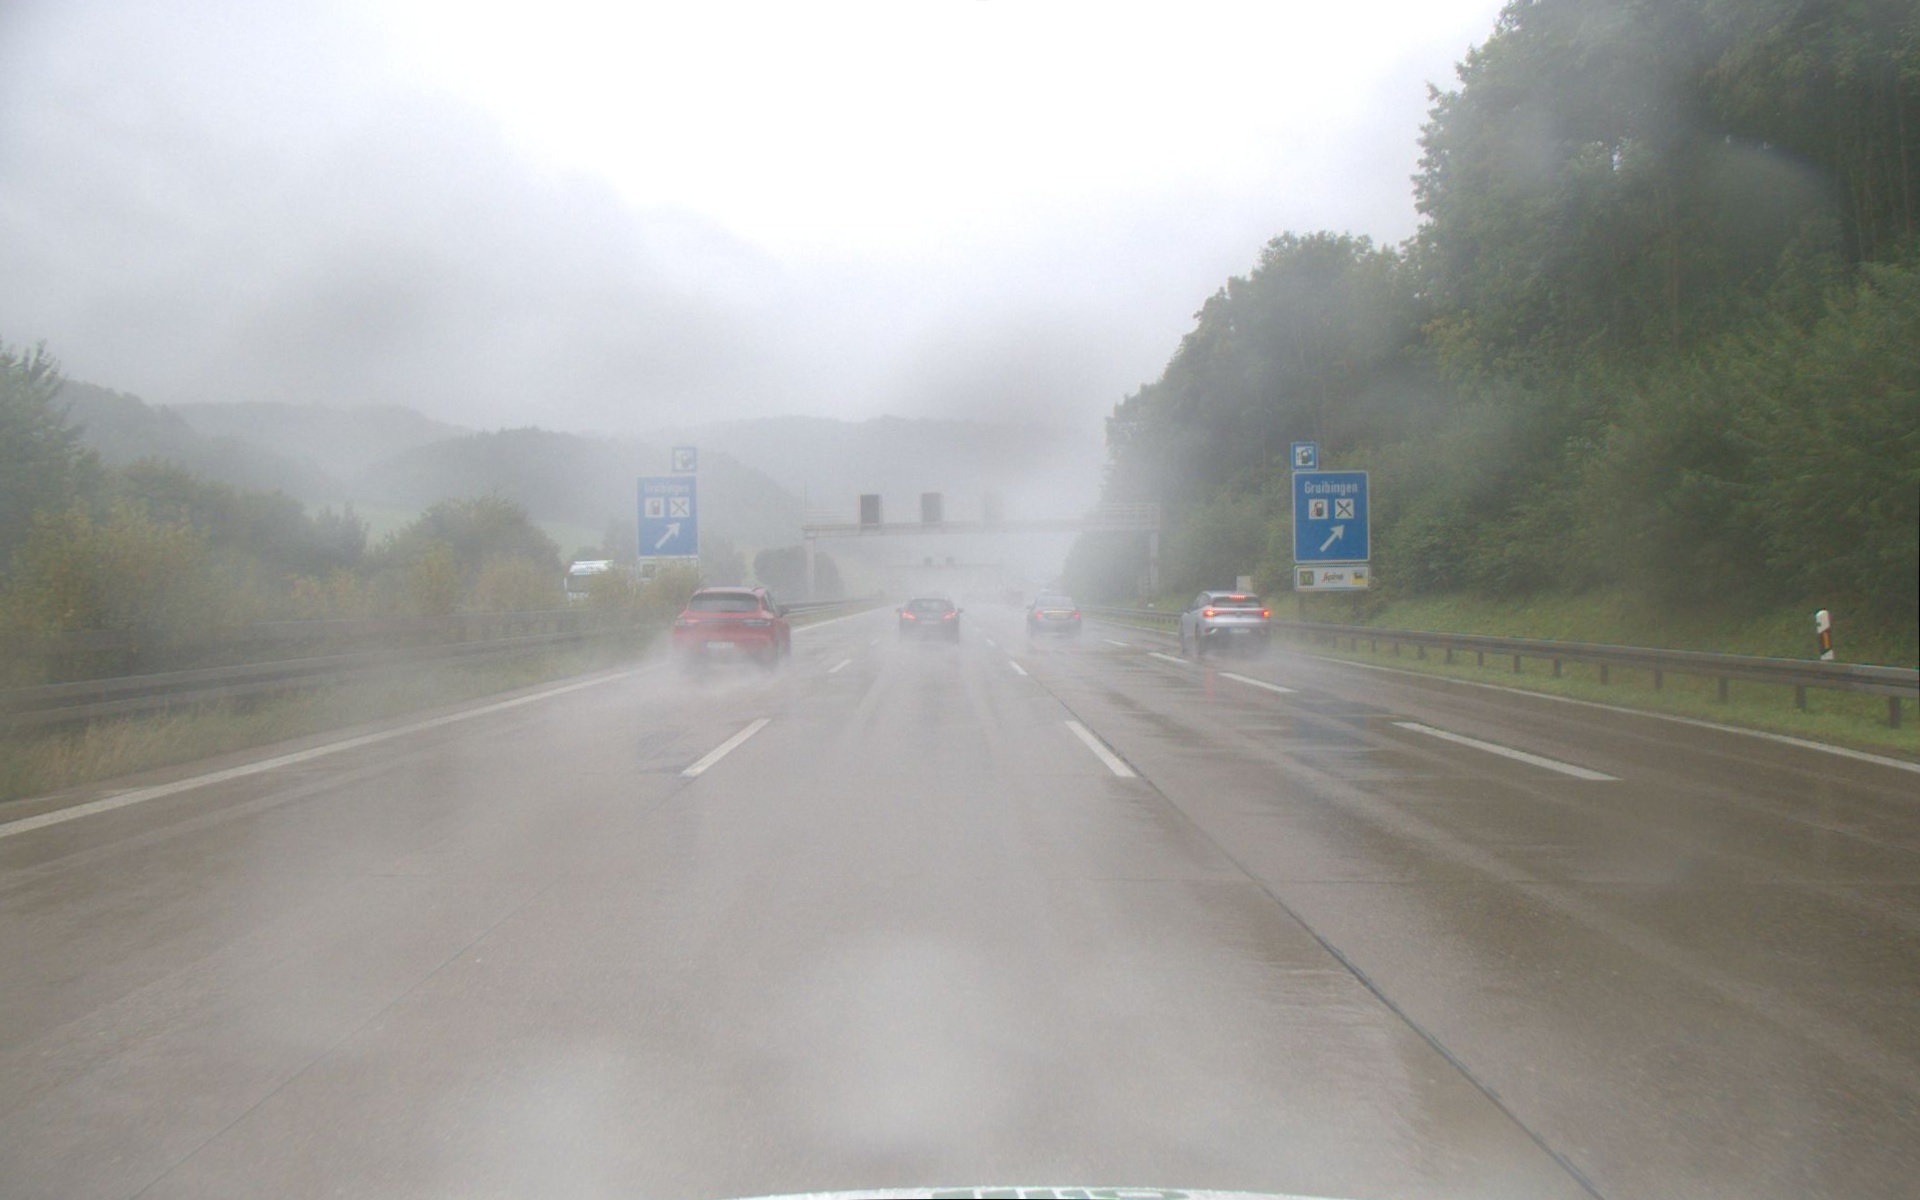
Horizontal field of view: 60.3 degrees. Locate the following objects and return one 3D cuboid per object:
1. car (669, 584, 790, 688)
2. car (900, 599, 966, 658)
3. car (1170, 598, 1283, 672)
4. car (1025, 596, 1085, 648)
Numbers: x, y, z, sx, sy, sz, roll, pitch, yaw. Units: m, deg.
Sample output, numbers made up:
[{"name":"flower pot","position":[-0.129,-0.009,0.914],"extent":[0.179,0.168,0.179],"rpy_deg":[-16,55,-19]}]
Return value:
[{"name":"car","position":[-4.311,0.637,31.464],"extent":[1.846,1.847,3.999],"rpy_deg":[0,0,-2]},{"name":"car","position":[-0.768,0.799,48.235],"extent":[1.822,1.617,3.999],"rpy_deg":[1,0,-1]},{"name":"car","position":[6.830,0.860,42.948],"extent":[1.953,1.781,5.661],"rpy_deg":[1,0,-1]},{"name":"car","position":[3.429,0.772,60.463],"extent":[1.931,1.791,3.999],"rpy_deg":[0,0,-1]}]
